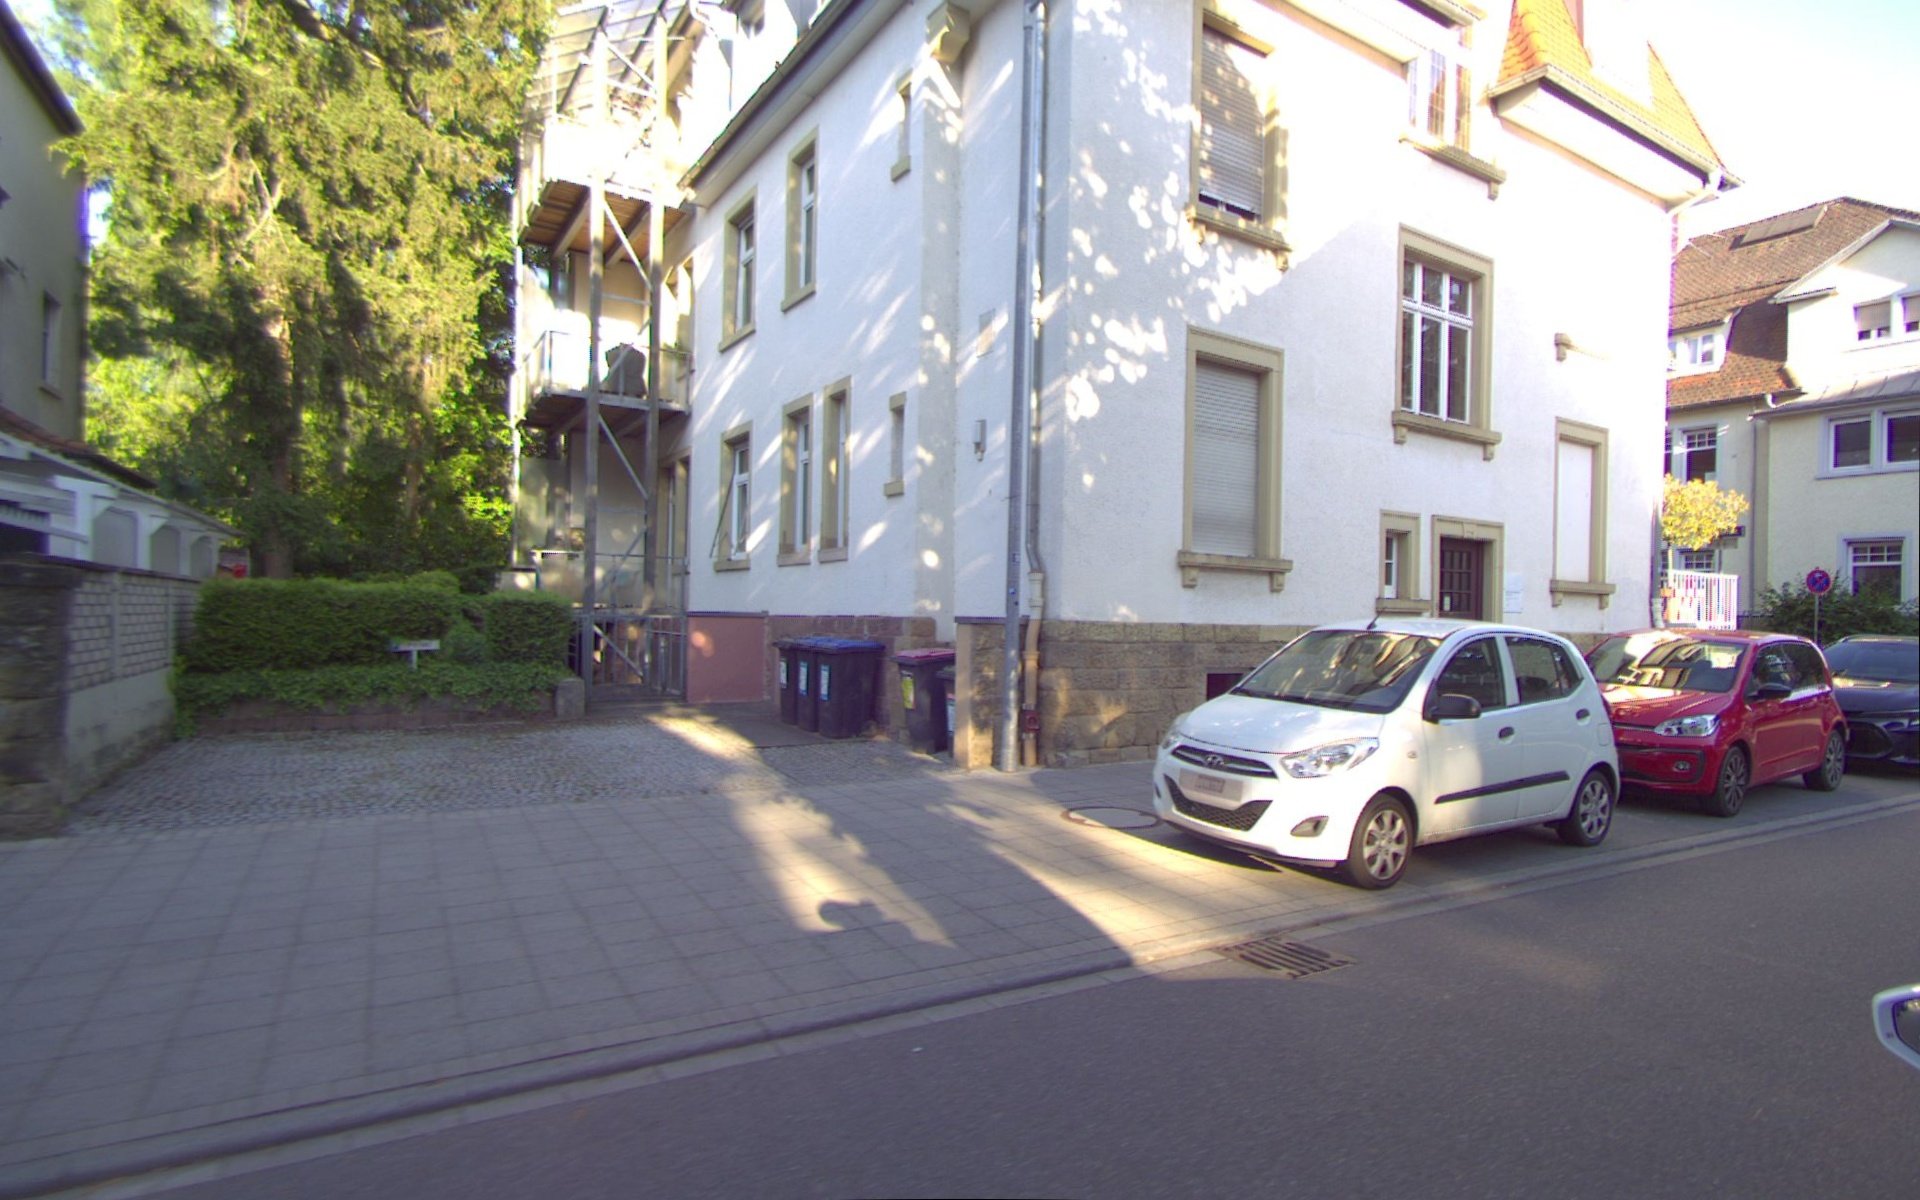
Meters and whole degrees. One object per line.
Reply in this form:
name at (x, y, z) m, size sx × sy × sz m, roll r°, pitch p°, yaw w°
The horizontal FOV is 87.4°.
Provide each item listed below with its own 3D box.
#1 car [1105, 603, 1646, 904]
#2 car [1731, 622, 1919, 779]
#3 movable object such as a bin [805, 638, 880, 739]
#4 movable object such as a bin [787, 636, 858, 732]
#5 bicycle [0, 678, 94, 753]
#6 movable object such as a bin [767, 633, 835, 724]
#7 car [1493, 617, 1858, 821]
car at (2.934, 0.852, 6.907) m, size 3.665 × 1.541 × 1.573 m, roll 2°, pitch 1°, yaw -32°
car at (11.055, 1.060, 11.716) m, size 4.576 × 1.473 × 1.645 m, roll 2°, pitch 0°, yaw -30°
movable object such as a bin at (-1.335, 0.978, 11.333) m, size 0.656 × 1.062 × 0.580 m, roll 1°, pitch 1°, yaw -29°
movable object such as a bin at (-1.631, 0.976, 11.886) m, size 0.656 × 1.062 × 0.580 m, roll 1°, pitch 1°, yaw -29°
bicycle at (-8.611, 1.038, 9.026) m, size 1.183 × 0.629 × 0.431 m, roll 1°, pitch -1°, yaw -30°
movable object such as a bin at (-1.970, 0.948, 12.393) m, size 0.656 × 1.062 × 0.580 m, roll 1°, pitch 1°, yaw -29°
car at (6.719, 0.960, 9.337) m, size 3.668 × 1.496 × 1.571 m, roll 2°, pitch 1°, yaw -34°
